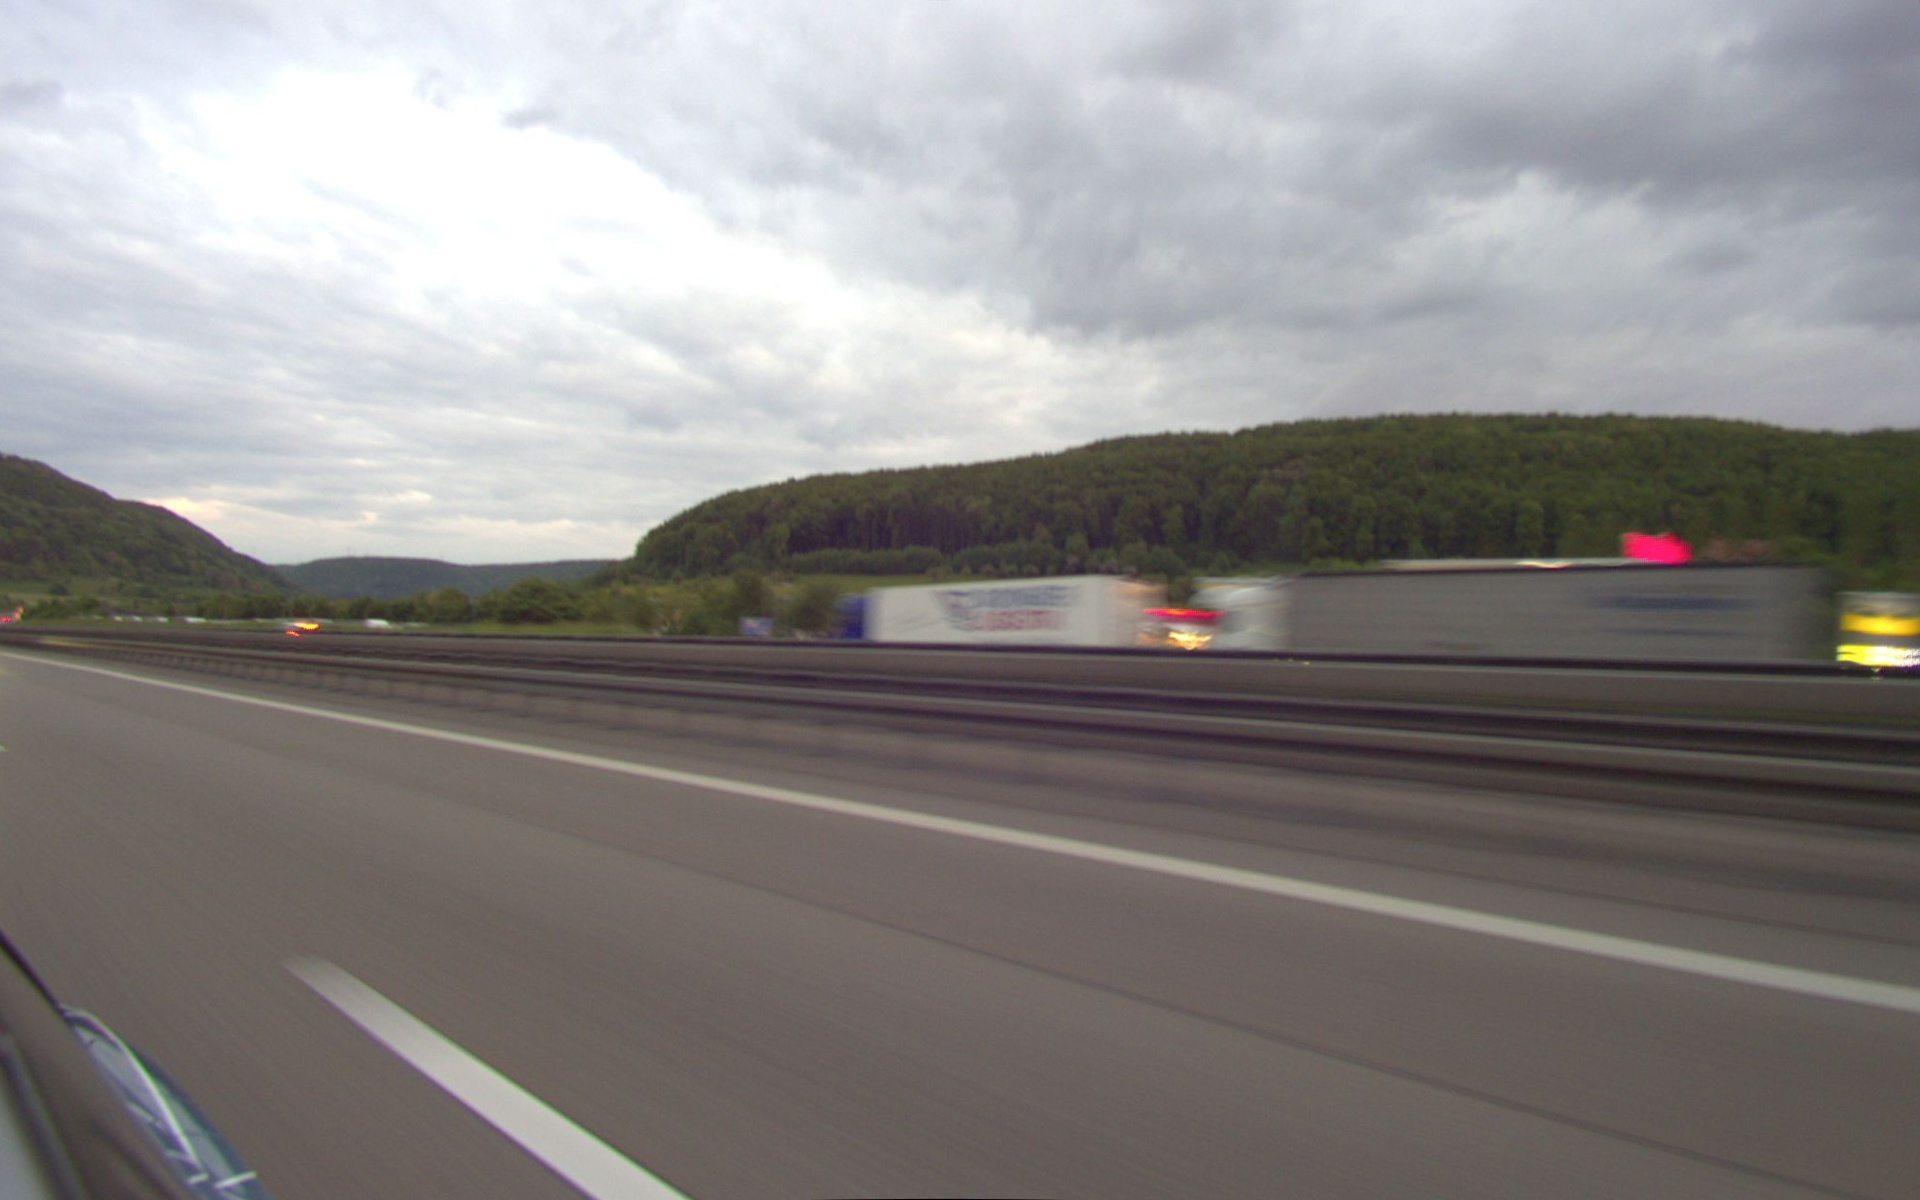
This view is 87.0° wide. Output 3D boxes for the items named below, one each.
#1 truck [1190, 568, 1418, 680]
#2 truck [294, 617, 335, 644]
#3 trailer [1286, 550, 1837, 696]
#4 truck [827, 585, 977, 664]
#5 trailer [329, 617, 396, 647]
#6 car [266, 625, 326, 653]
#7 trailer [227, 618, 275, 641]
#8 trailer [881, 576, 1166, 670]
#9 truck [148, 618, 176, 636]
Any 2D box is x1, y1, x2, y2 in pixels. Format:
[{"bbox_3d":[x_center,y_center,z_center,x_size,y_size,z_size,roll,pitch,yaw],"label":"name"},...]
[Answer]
[{"bbox_3d":[11.510,0.810,34.299,6.724,3.451,2.843,-1,-2,42],"label":"truck"},{"bbox_3d":[-77.908,3.675,122.154,5.302,3.112,2.837,-1,-2,42],"label":"truck"},{"bbox_3d":[16.650,0.675,29.626,13.567,3.451,2.842,-1,-2,42],"label":"trailer"},{"bbox_3d":[-2.828,1.136,47.426,7.173,3.401,2.842,-1,-2,43],"label":"truck"},{"bbox_3d":[-66.406,3.496,112.277,11.150,3.112,2.838,-1,-2,40],"label":"trailer"},{"bbox_3d":[-40.116,2.300,61.092,4.740,1.605,1.972,-1,-2,43],"label":"car"},{"bbox_3d":[-98.069,4.030,139.838,11.722,3.076,2.843,-1,-2,42],"label":"trailer"},{"bbox_3d":[2.196,0.982,42.787,13.222,3.451,2.842,-1,-2,43],"label":"trailer"},{"bbox_3d":[-140.351,4.716,178.059,5.891,3.112,2.837,-1,-2,42],"label":"truck"}]
